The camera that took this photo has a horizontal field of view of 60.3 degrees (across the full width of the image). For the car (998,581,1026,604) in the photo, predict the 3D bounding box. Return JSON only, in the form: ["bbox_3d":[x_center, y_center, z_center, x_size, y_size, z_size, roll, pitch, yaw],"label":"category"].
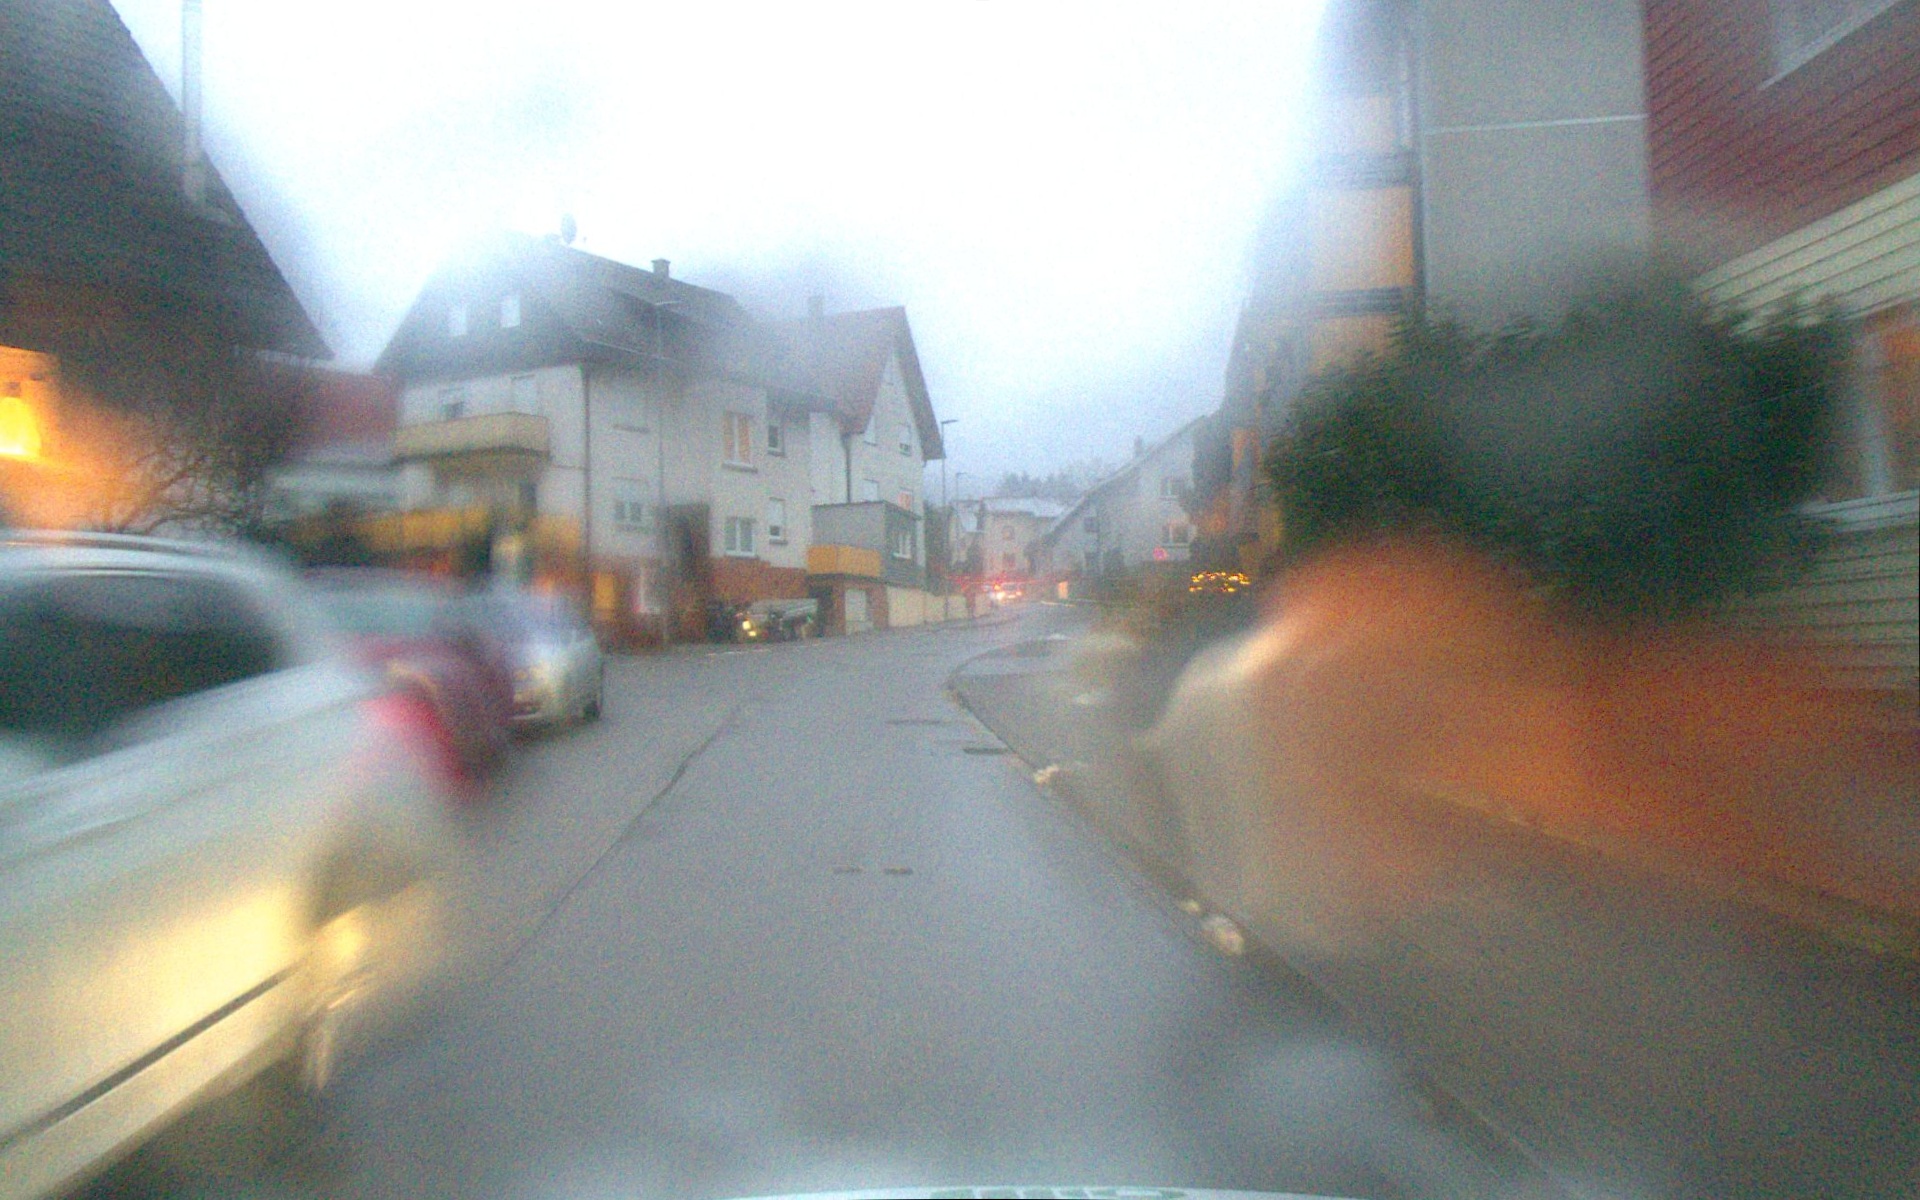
[{"bbox_3d":[3.973,-0.523,125.749,1.952,1.646,4.002,1,-1,4],"label":"car"}]

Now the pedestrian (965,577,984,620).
[{"bbox_3d":[0.587,-0.062,68.054,0.585,1.763,0.812,0,-1,15],"label":"pedestrian"}]

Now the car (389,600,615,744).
[{"bbox_3d":[-5.040,0.724,18.736,1.714,1.413,4.142,0,0,-5],"label":"car"}]

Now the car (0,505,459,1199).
[{"bbox_3d":[-2.558,0.630,3.361,1.721,1.608,4.001,1,-1,2],"label":"car"}]

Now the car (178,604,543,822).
[{"bbox_3d":[-4.681,0.789,13.550,1.787,1.466,4.064,0,0,-5],"label":"car"}]

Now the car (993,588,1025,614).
[{"bbox_3d":[4.177,0.037,139.789,2.065,2.062,4.987,-3,0,8],"label":"car"}]

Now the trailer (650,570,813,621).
[{"bbox_3d":[-6.692,-0.171,48.869,2.023,1.189,4.852,2,4,35],"label":"trailer"}]

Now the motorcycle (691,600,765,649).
[{"bbox_3d":[-6.485,0.664,46.179,1.047,1.321,2.206,0,0,-40],"label":"motorcycle"}]
